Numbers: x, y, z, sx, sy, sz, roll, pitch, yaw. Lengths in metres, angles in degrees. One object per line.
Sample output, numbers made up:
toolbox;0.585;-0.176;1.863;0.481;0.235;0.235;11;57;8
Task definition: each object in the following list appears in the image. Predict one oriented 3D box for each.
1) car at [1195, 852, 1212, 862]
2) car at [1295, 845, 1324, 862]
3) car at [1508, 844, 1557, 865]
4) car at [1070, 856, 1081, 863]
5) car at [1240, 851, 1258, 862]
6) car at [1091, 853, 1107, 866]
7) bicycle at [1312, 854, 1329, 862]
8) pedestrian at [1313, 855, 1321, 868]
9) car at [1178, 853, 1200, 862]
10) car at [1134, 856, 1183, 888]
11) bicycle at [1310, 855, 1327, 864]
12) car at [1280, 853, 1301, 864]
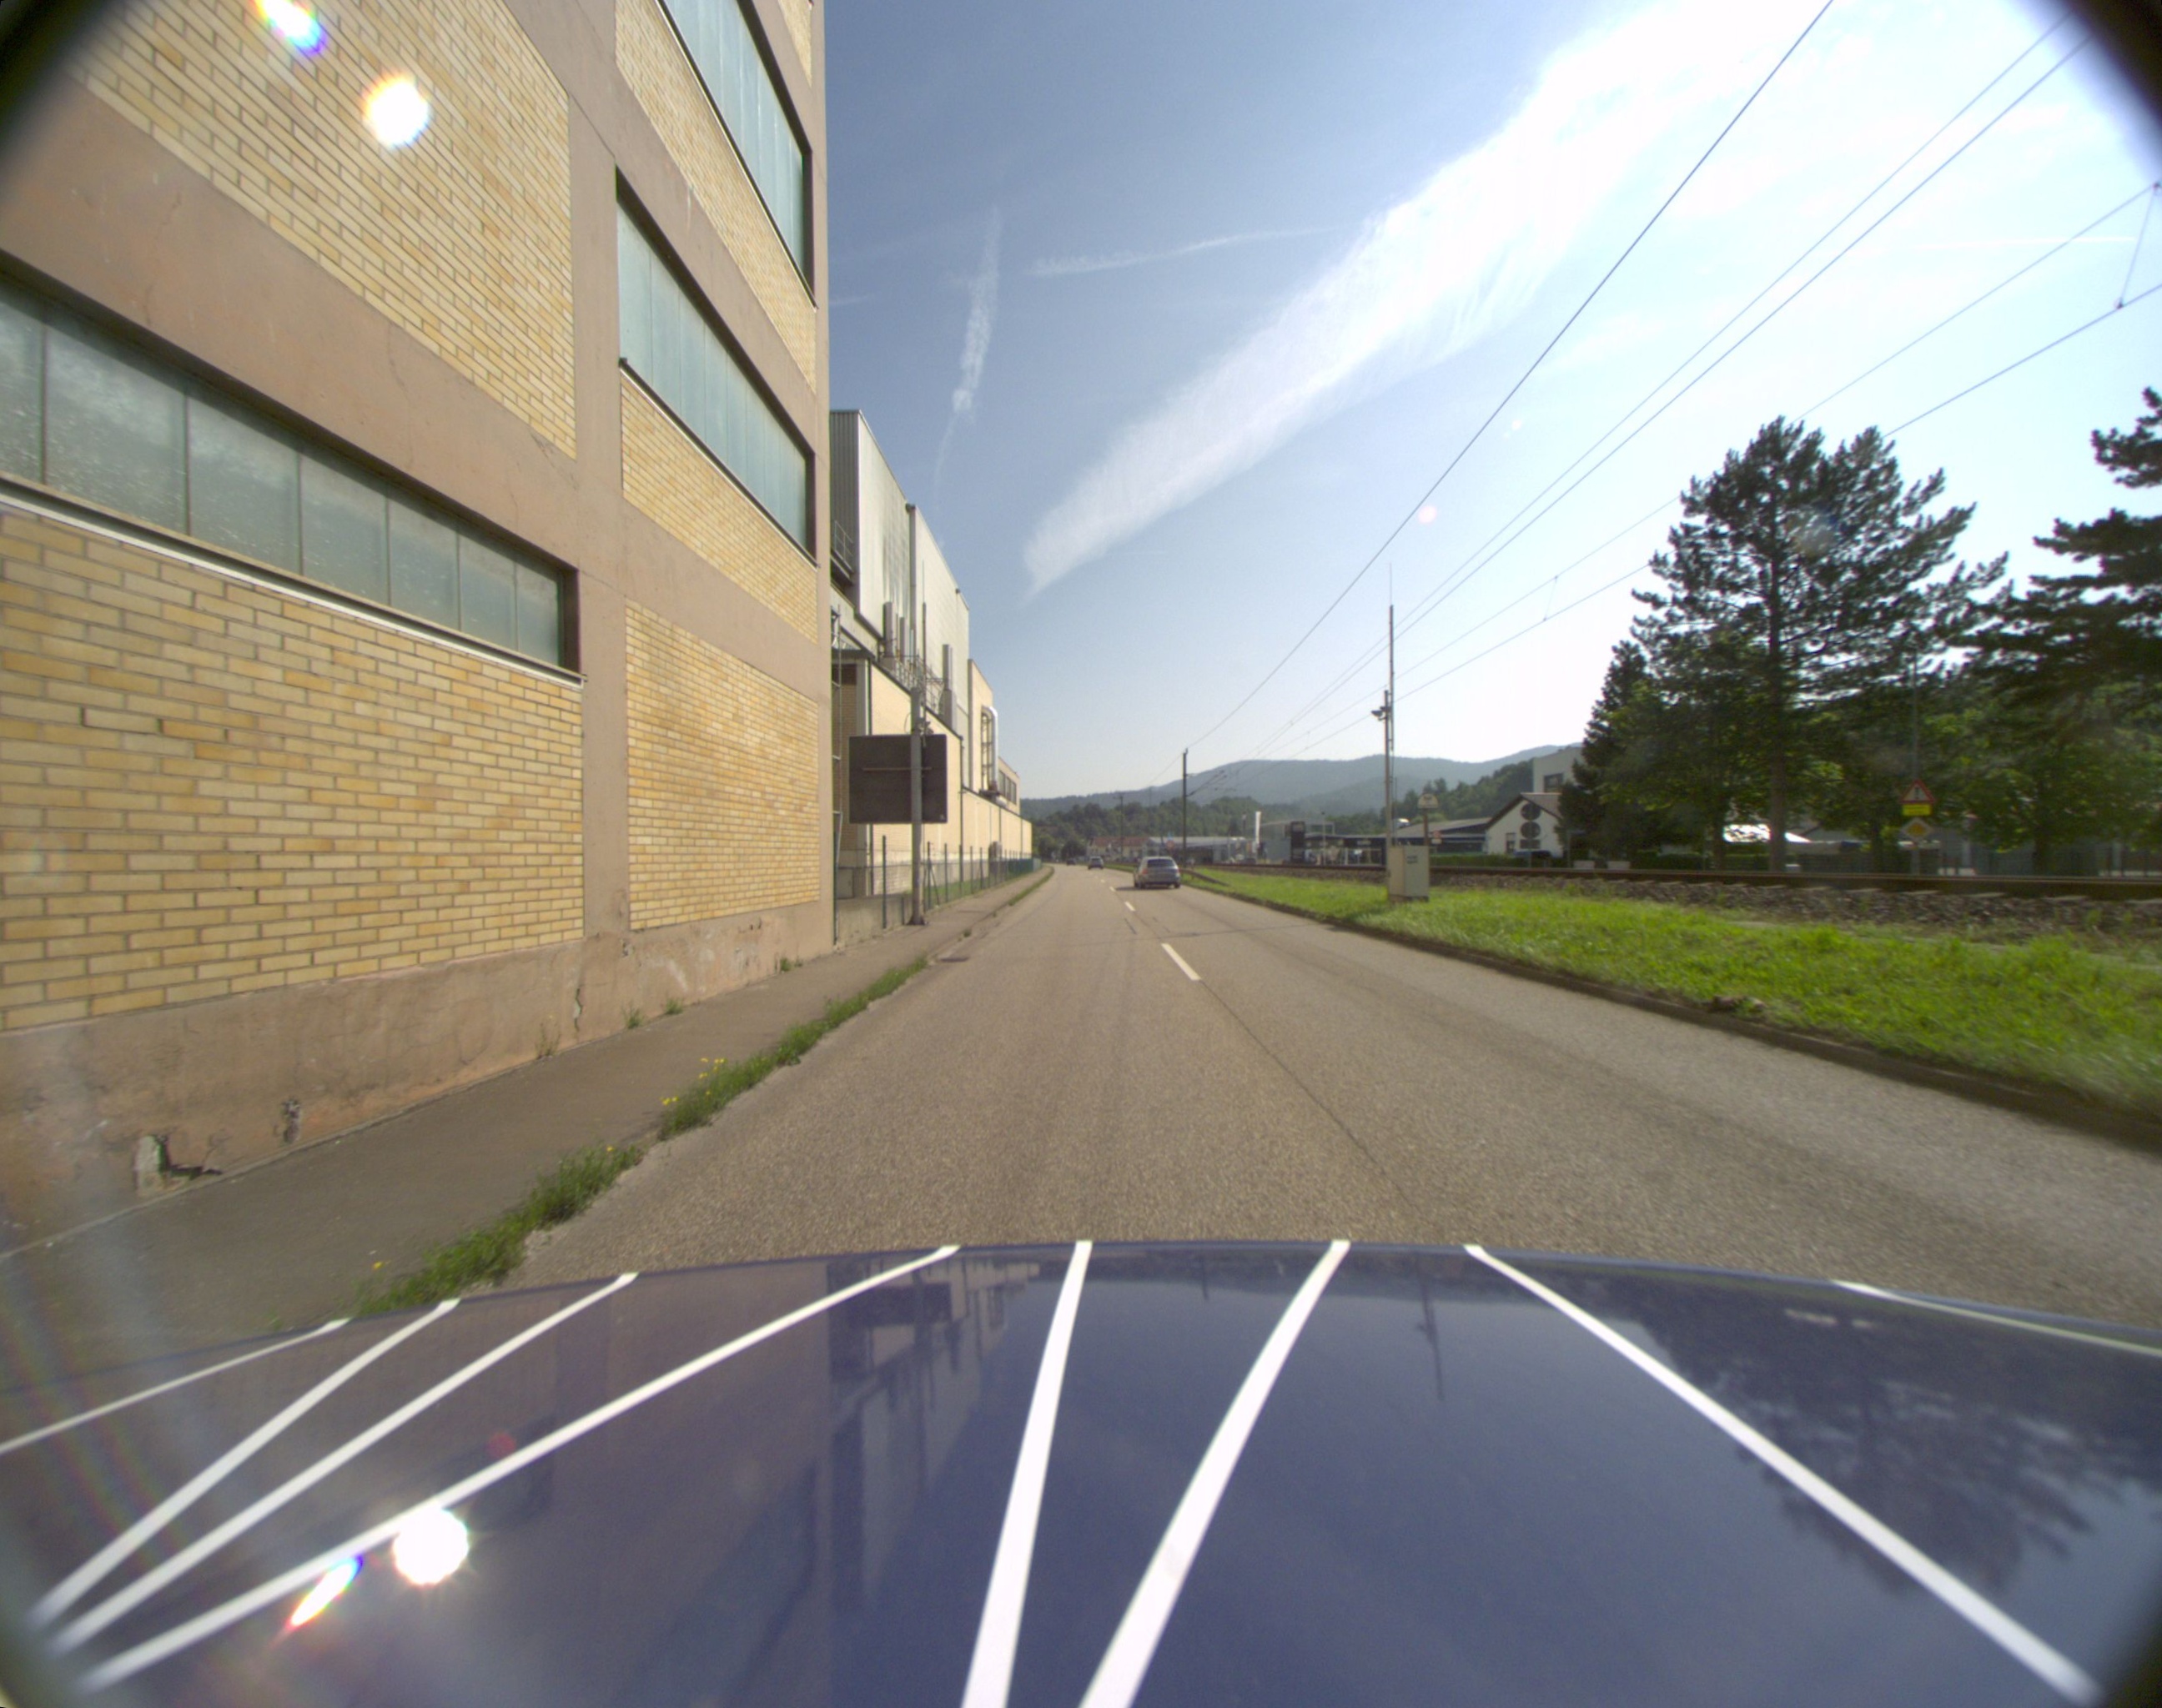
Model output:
car;24.321;0.553;150.778;1.659;1.613;4.039;-3;1;38
car;37.500;-0.145;124.778;2.380;2.618;6.155;-1;2;-6
car;30.425;0.027;51.271;1.394;1.344;2.893;0;0;-4
car;-1.166;1.101;157.544;1.769;1.395;4.118;-1;0;-5
car;27.323;0.367;123.571;1.523;1.679;4.367;-2;1;-7
car;2.263;0.647;96.798;1.911;1.591;4.569;-1;1;0
bicycle;32.869;0.515;104.369;2.175;1.124;0.729;-1;1;-13
pedestrian;24.586;0.821;79.192;0.575;1.324;0.673;-1;1;-8
car;21.891;0.754;154.347;3.968;1.519;1.662;-4;1;-6
car;3.501;0.780;35.052;1.772;1.397;4.296;0;0;-1
bicycle;31.781;0.775;101.663;2.175;1.124;0.729;-1;1;-13
car;34.088;0.688;123.547;1.873;1.654;3.996;-1;1;-6
